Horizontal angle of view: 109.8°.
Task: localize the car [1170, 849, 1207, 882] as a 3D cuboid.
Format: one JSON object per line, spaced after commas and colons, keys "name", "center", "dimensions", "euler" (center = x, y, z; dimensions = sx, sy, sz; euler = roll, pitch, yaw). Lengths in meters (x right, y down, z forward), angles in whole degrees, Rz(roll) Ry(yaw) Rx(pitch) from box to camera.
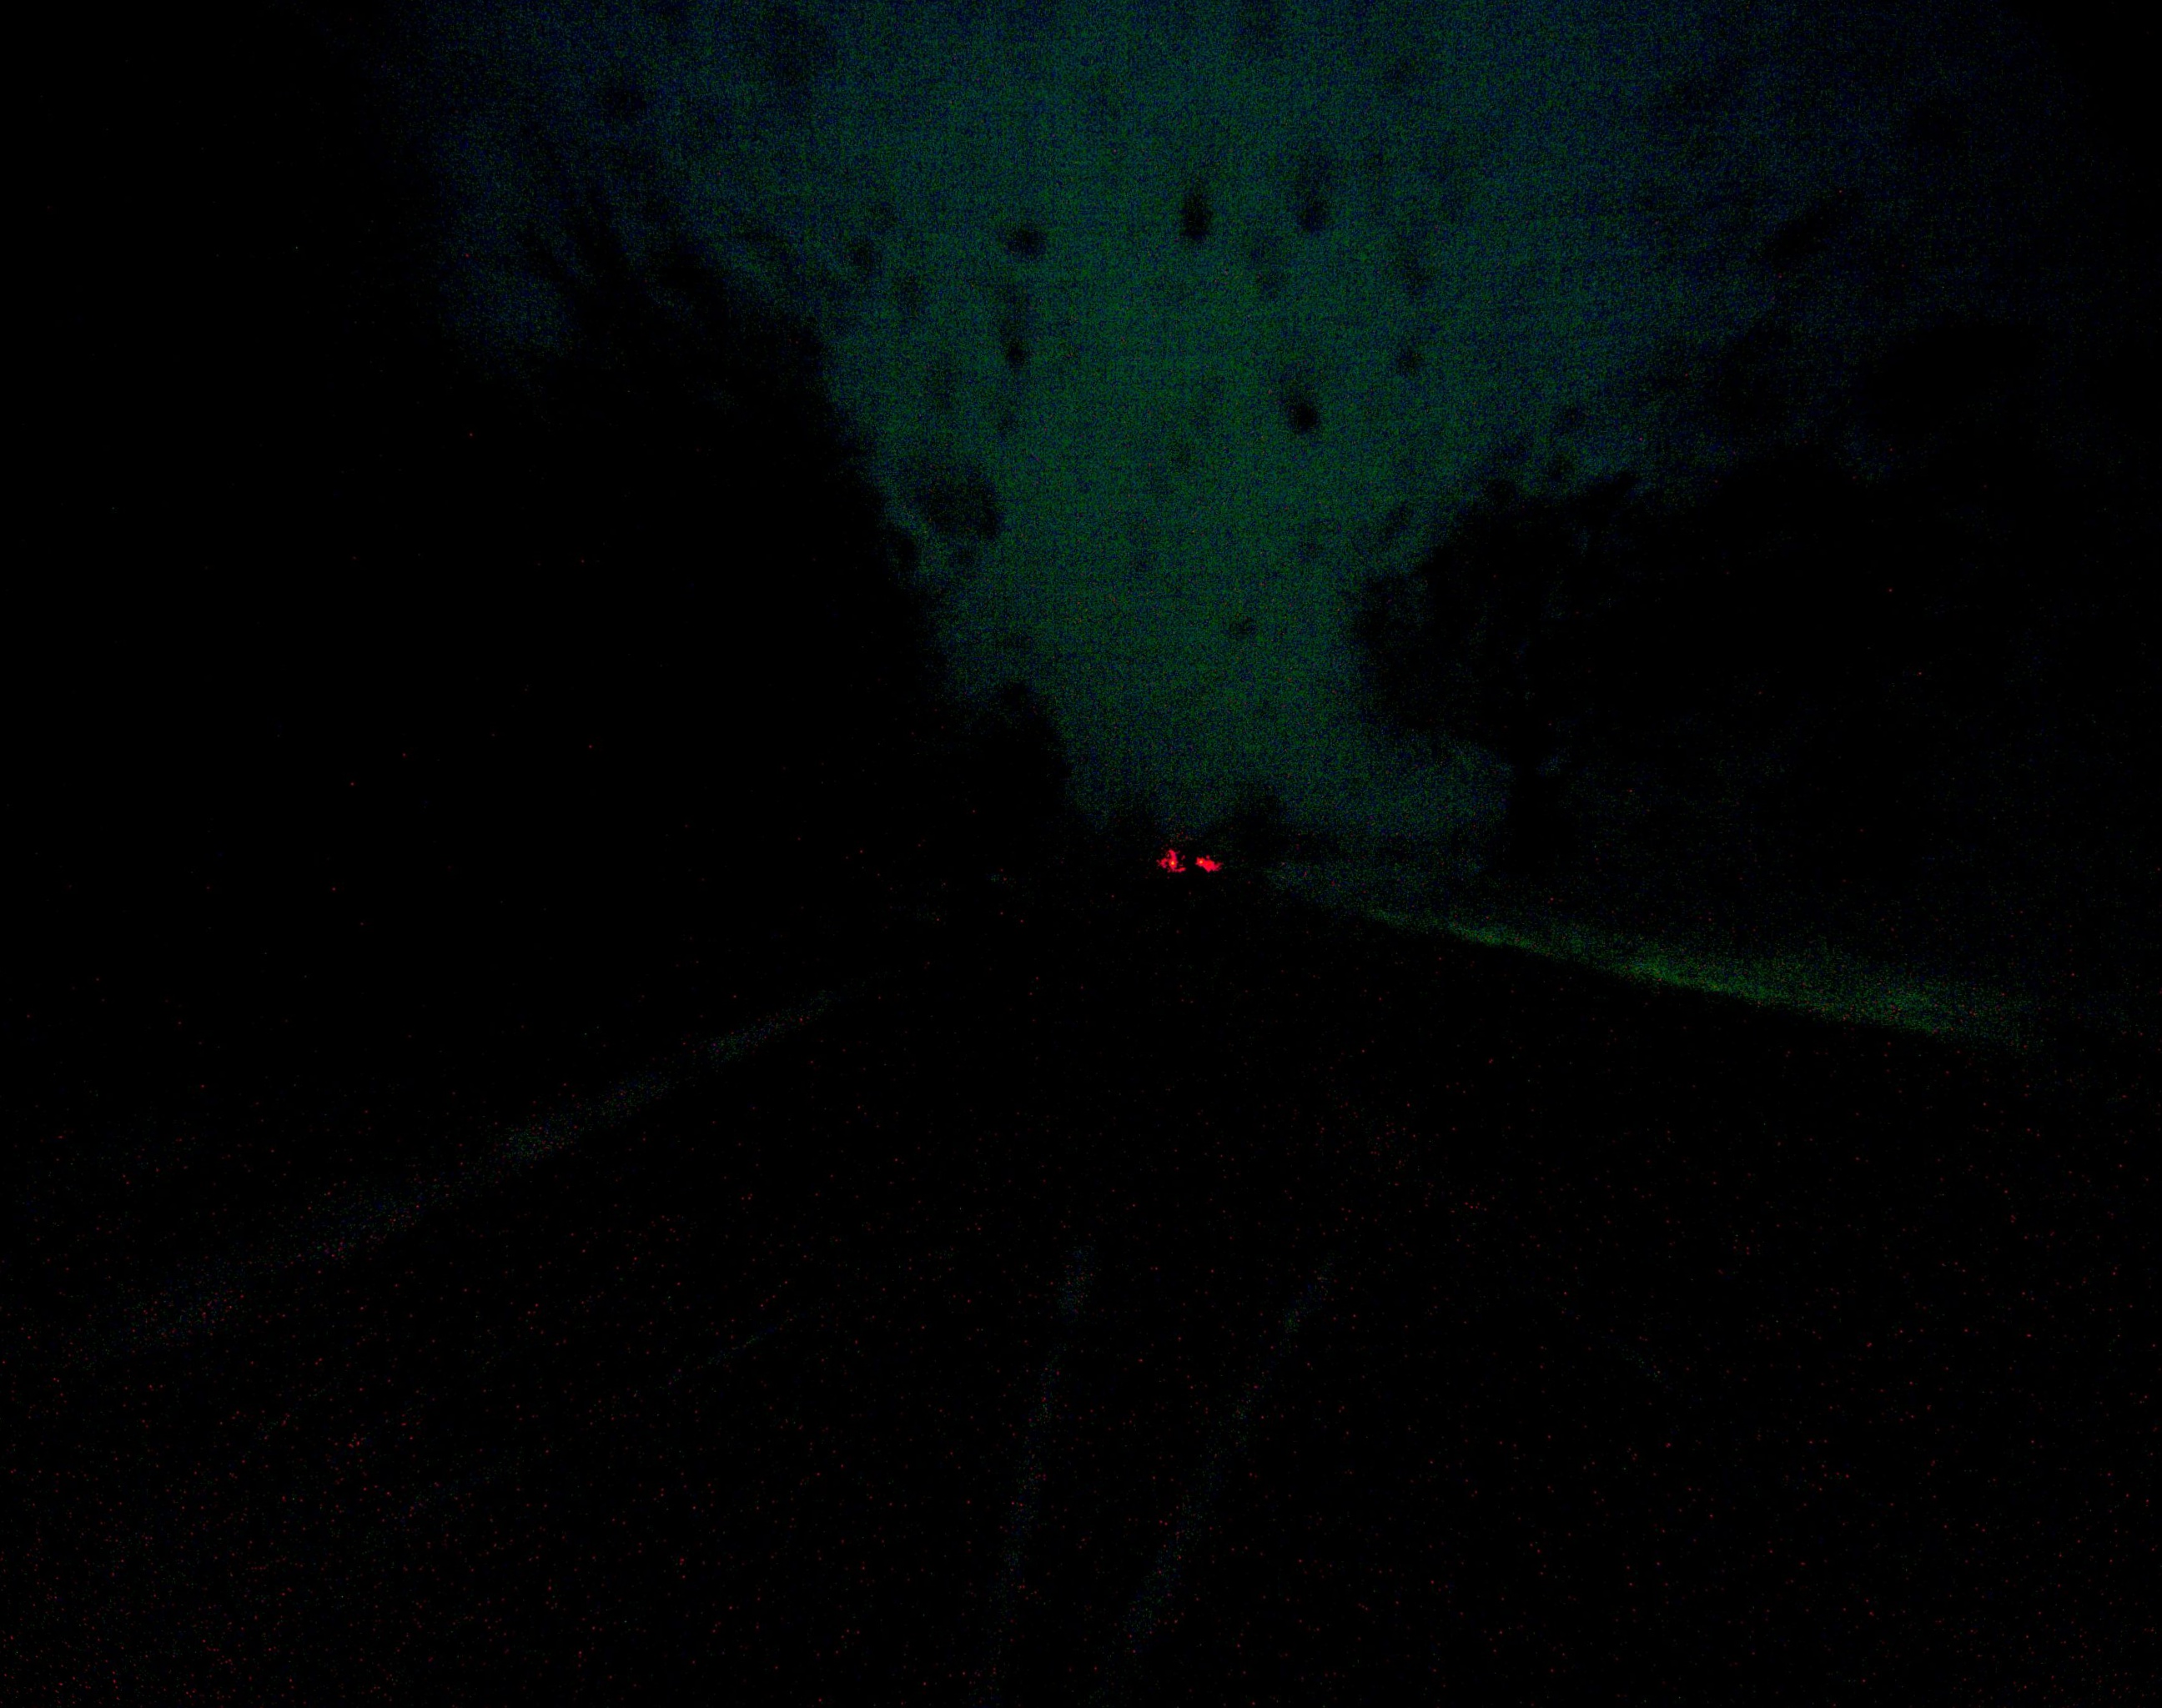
{"name": "car", "center": [5.887, 0.607, 42.023], "dimensions": [1.755, 1.683, 4.428], "euler": [-2, 0, 5]}
